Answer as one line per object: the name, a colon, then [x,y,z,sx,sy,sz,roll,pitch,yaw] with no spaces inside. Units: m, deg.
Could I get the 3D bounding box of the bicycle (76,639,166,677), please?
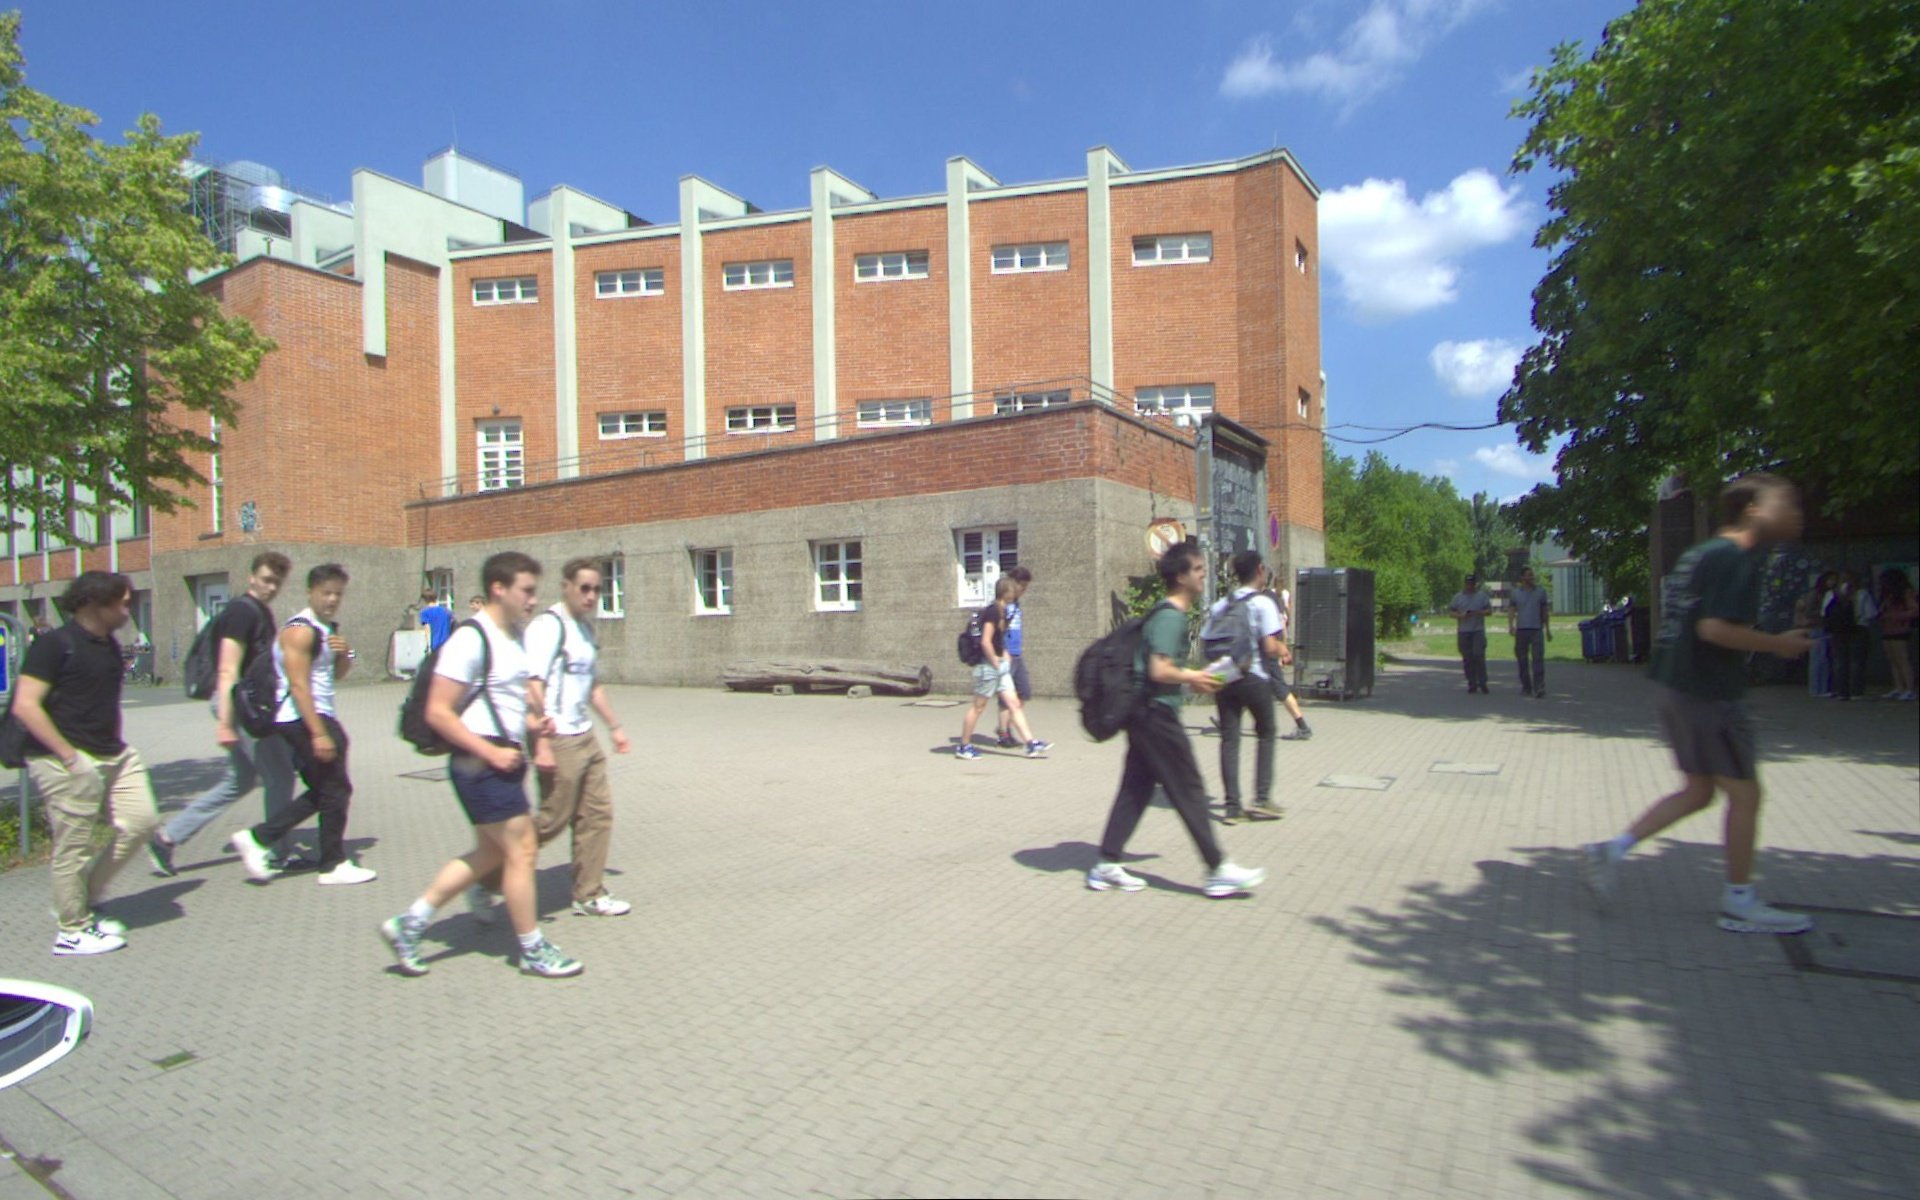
bicycle: [-22.957,1.583,27.427,0.552,0.924,1.805,-1,0,31]

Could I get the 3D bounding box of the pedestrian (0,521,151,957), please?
pedestrian: [-4.180,0.577,4.482,0.794,1.796,0.848,-2,1,-38]

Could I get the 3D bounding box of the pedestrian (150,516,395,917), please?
pedestrian: [-3.667,0.597,5.394,0.813,2.006,0.618,-2,0,1]

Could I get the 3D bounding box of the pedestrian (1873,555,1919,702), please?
pedestrian: [12.460,0.377,13.261,0.523,1.907,0.445,-1,-1,42]

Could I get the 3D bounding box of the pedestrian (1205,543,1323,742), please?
pedestrian: [3.054,0.412,10.026,1.058,1.892,0.761,-1,1,20]

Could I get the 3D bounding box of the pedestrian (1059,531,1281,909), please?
pedestrian: [1.004,0.560,4.987,0.974,1.743,0.703,-1,1,4]

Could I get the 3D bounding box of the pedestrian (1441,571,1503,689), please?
pedestrian: [7.915,0.452,15.476,0.721,1.762,0.830,1,1,35]

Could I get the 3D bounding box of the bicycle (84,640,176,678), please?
bicycle: [-22.287,1.570,26.908,0.552,0.924,1.805,-1,0,31]

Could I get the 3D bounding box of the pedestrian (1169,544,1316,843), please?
pedestrian: [1.851,0.549,6.458,0.698,1.739,1.105,-3,1,23]

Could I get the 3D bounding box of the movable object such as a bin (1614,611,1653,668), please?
movable object such as a bin: [16.328,0.947,24.283,0.756,1.337,0.780,0,-1,32]

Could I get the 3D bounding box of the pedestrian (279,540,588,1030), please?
pedestrian: [-2.080,0.665,4.104,0.967,1.762,0.699,-2,1,-20]

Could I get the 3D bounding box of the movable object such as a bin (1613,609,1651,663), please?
movable object such as a bin: [16.886,0.895,25.178,0.756,1.337,0.780,0,-1,32]

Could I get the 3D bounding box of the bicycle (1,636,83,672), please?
bicycle: [-28.893,1.690,31.542,0.552,0.998,1.805,-1,1,31]

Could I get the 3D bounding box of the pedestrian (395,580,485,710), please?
pedestrian: [-7.911,0.668,15.258,0.977,1.917,0.701,-1,2,22]

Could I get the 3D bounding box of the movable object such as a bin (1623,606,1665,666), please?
movable object such as a bin: [15.629,0.814,22.899,0.756,1.337,0.780,0,-1,32]

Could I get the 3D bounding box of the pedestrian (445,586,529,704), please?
pedestrian: [-7.597,0.704,16.097,0.977,1.828,0.701,-1,2,23]

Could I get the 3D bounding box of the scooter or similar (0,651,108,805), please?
scooter or similar: [-7.781,1.050,8.613,0.644,1.175,1.253,-1,0,-42]

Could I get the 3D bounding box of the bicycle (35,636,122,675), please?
bicycle: [-25.716,1.606,29.254,0.552,0.998,1.805,-1,1,31]

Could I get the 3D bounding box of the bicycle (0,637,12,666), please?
bicycle: [-34.136,1.818,34.652,0.552,0.998,1.805,-1,1,31]

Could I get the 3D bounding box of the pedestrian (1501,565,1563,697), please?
pedestrian: [8.566,0.442,14.989,0.721,1.908,0.831,1,1,34]

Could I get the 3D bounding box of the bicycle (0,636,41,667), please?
bicycle: [-32.472,1.774,33.956,0.552,0.998,1.805,-1,1,31]

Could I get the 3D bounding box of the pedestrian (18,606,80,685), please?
pedestrian: [-22.080,1.090,24.271,1.099,1.884,0.789,-1,0,29]

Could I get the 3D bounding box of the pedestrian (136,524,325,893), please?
pedestrian: [-4.328,0.589,5.964,0.819,2.007,0.686,-2,1,-38]

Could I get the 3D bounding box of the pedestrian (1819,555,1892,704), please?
pedestrian: [11.791,0.381,13.190,0.521,1.907,0.556,0,-1,-28]

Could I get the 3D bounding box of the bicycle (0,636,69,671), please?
bicycle: [-29.892,1.704,32.157,0.552,0.998,1.805,-1,1,31]

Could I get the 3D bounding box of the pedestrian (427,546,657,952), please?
pedestrian: [-1.979,0.643,4.832,0.893,1.762,0.676,-2,1,-21]

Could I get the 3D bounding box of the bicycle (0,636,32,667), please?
bicycle: [-33.023,1.787,34.211,0.552,0.998,1.805,-1,1,31]

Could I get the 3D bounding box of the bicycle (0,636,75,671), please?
bicycle: [-29.412,1.696,31.832,0.552,0.998,1.805,-1,1,31]

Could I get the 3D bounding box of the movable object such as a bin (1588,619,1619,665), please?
movable object such as a bin: [18.818,1.224,29.306,0.756,1.337,0.780,0,-1,32]

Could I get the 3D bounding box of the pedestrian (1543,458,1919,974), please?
pedestrian: [3.194,0.438,4.187,1.096,1.884,0.853,-1,0,15]

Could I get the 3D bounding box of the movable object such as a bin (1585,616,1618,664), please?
movable object such as a bin: [18.148,1.113,28.340,0.756,1.337,0.780,0,-1,32]

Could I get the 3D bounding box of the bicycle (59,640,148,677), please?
bicycle: [-24.105,1.622,28.203,0.552,0.924,1.805,-1,1,31]

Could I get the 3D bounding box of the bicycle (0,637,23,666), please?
bicycle: [-33.555,1.808,34.453,0.552,0.998,1.805,-1,1,31]

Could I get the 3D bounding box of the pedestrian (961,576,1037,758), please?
pedestrian: [0.371,0.614,9.387,0.561,1.652,0.502,-1,0,21]

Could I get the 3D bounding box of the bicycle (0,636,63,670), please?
bicycle: [-30.416,1.721,32.510,0.552,0.998,1.805,-1,1,31]

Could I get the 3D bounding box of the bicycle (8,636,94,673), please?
bicycle: [-27.235,1.627,30.042,0.552,0.998,1.805,-1,1,31]

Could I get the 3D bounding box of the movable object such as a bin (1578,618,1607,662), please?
movable object such as a bin: [19.724,1.228,31.220,0.756,1.337,0.780,0,-1,32]

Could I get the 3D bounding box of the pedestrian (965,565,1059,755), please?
pedestrian: [0.530,0.583,10.030,0.740,1.811,0.709,-1,0,21]

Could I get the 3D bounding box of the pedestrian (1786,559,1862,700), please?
pedestrian: [11.999,0.407,13.919,0.548,1.908,0.529,-2,1,4]

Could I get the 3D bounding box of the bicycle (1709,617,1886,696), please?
bicycle: [12.752,0.844,15.332,1.998,1.154,0.572,-1,-1,32]

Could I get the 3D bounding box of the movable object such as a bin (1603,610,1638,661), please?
movable object such as a bin: [17.492,0.932,26.546,0.756,1.337,0.780,0,-1,32]
